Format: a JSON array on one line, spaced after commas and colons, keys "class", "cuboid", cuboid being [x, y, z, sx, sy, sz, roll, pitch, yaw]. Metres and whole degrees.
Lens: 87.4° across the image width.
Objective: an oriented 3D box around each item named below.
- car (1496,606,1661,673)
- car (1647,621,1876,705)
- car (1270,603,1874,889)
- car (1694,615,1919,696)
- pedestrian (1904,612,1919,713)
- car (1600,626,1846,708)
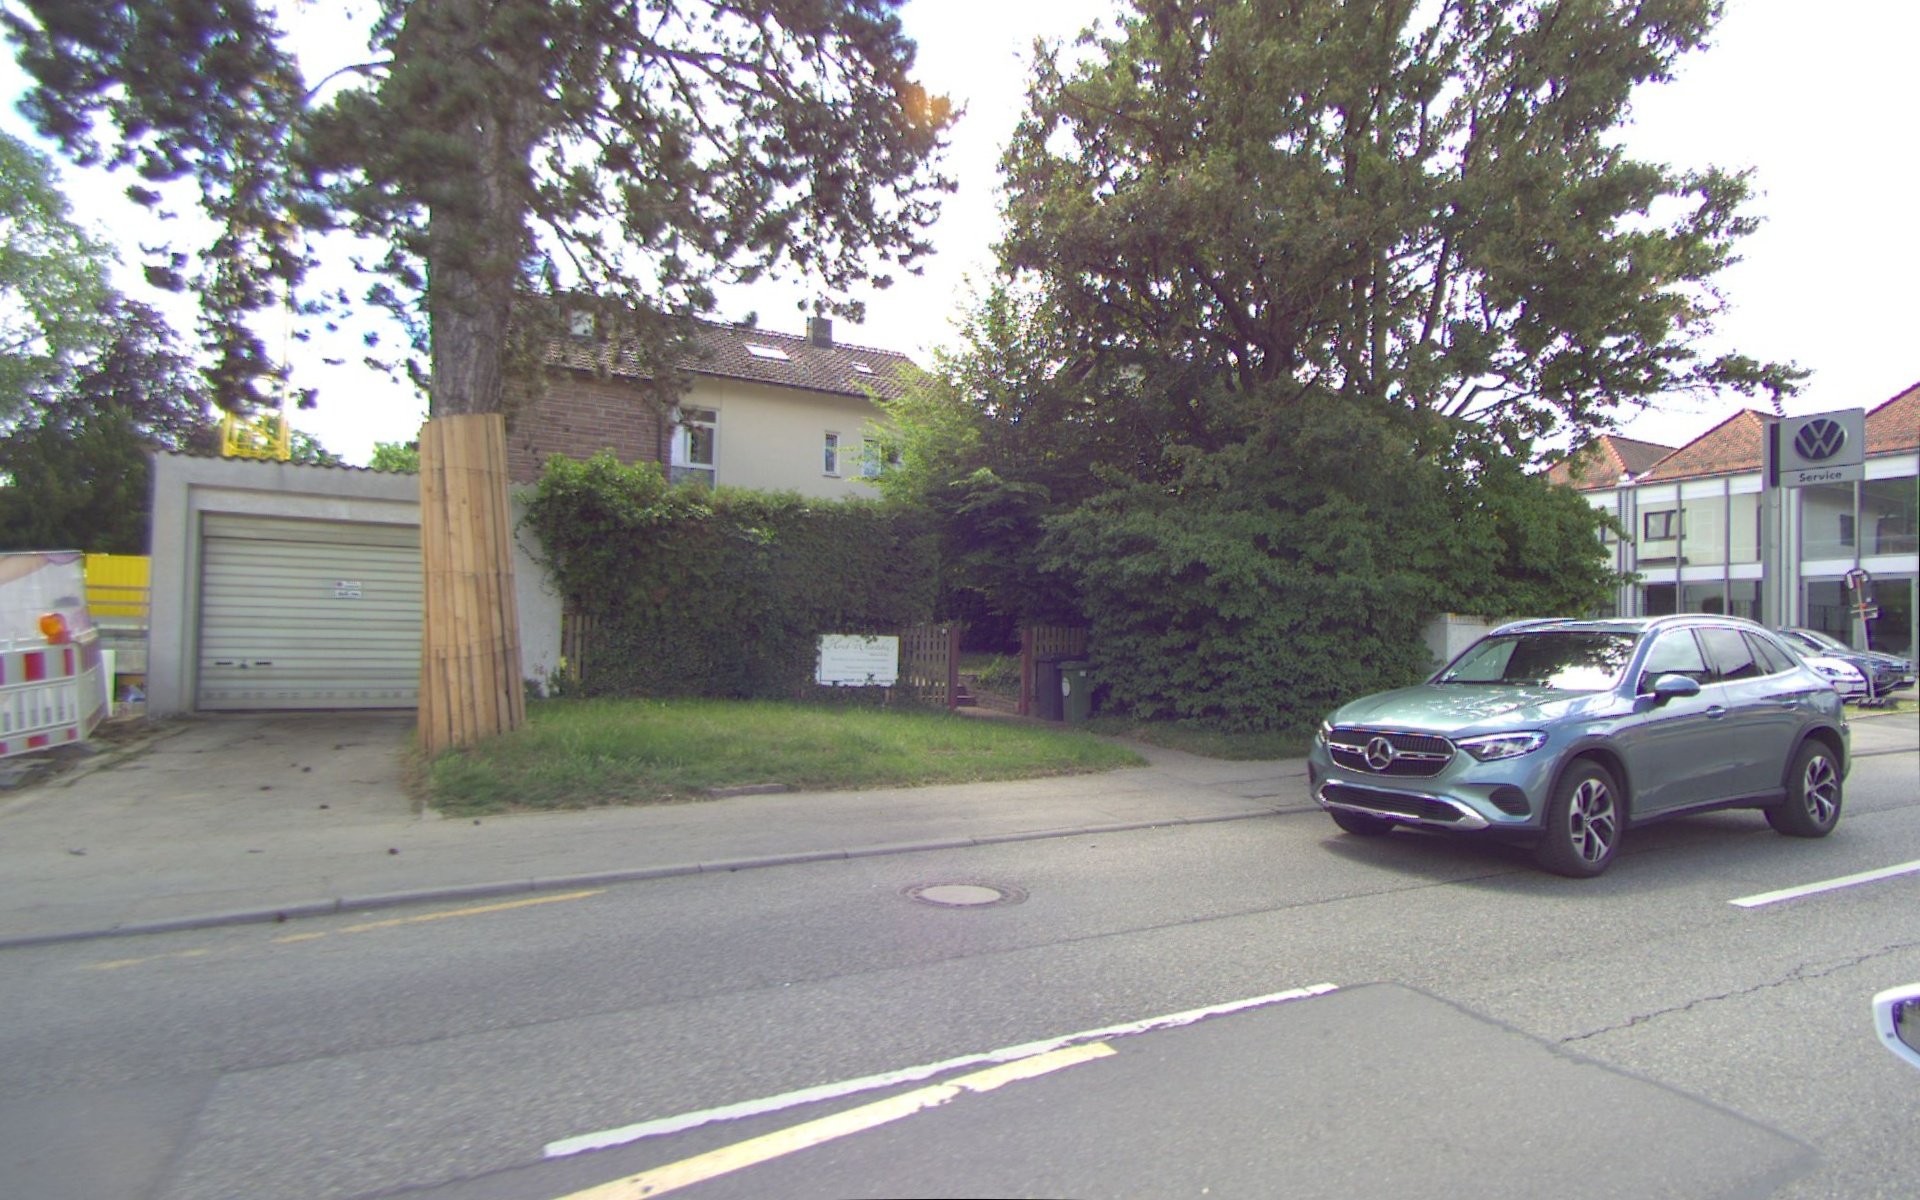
[{"class": "car", "cuboid": [16.592, 0.999, 26.931, 4.272, 1.606, 1.799, 0, 2, -27]}, {"class": "car", "cuboid": [17.886, 1.345, 22.609, 1.515, 1.581, 3.724, 1, 1, -28]}, {"class": "car", "cuboid": [4.706, 0.901, 7.636, 4.477, 1.639, 1.859, 1, -2, -27]}, {"class": "car", "cuboid": [20.266, 1.261, 24.078, 1.633, 1.652, 3.996, 1, 1, -28]}, {"class": "pedestrian", "cuboid": [17.252, 1.107, 17.675, 0.857, 1.760, 0.680, 2, -1, -27]}, {"class": "car", "cuboid": [15.731, 1.317, 20.909, 1.707, 1.538, 3.725, 1, -2, -28]}]
